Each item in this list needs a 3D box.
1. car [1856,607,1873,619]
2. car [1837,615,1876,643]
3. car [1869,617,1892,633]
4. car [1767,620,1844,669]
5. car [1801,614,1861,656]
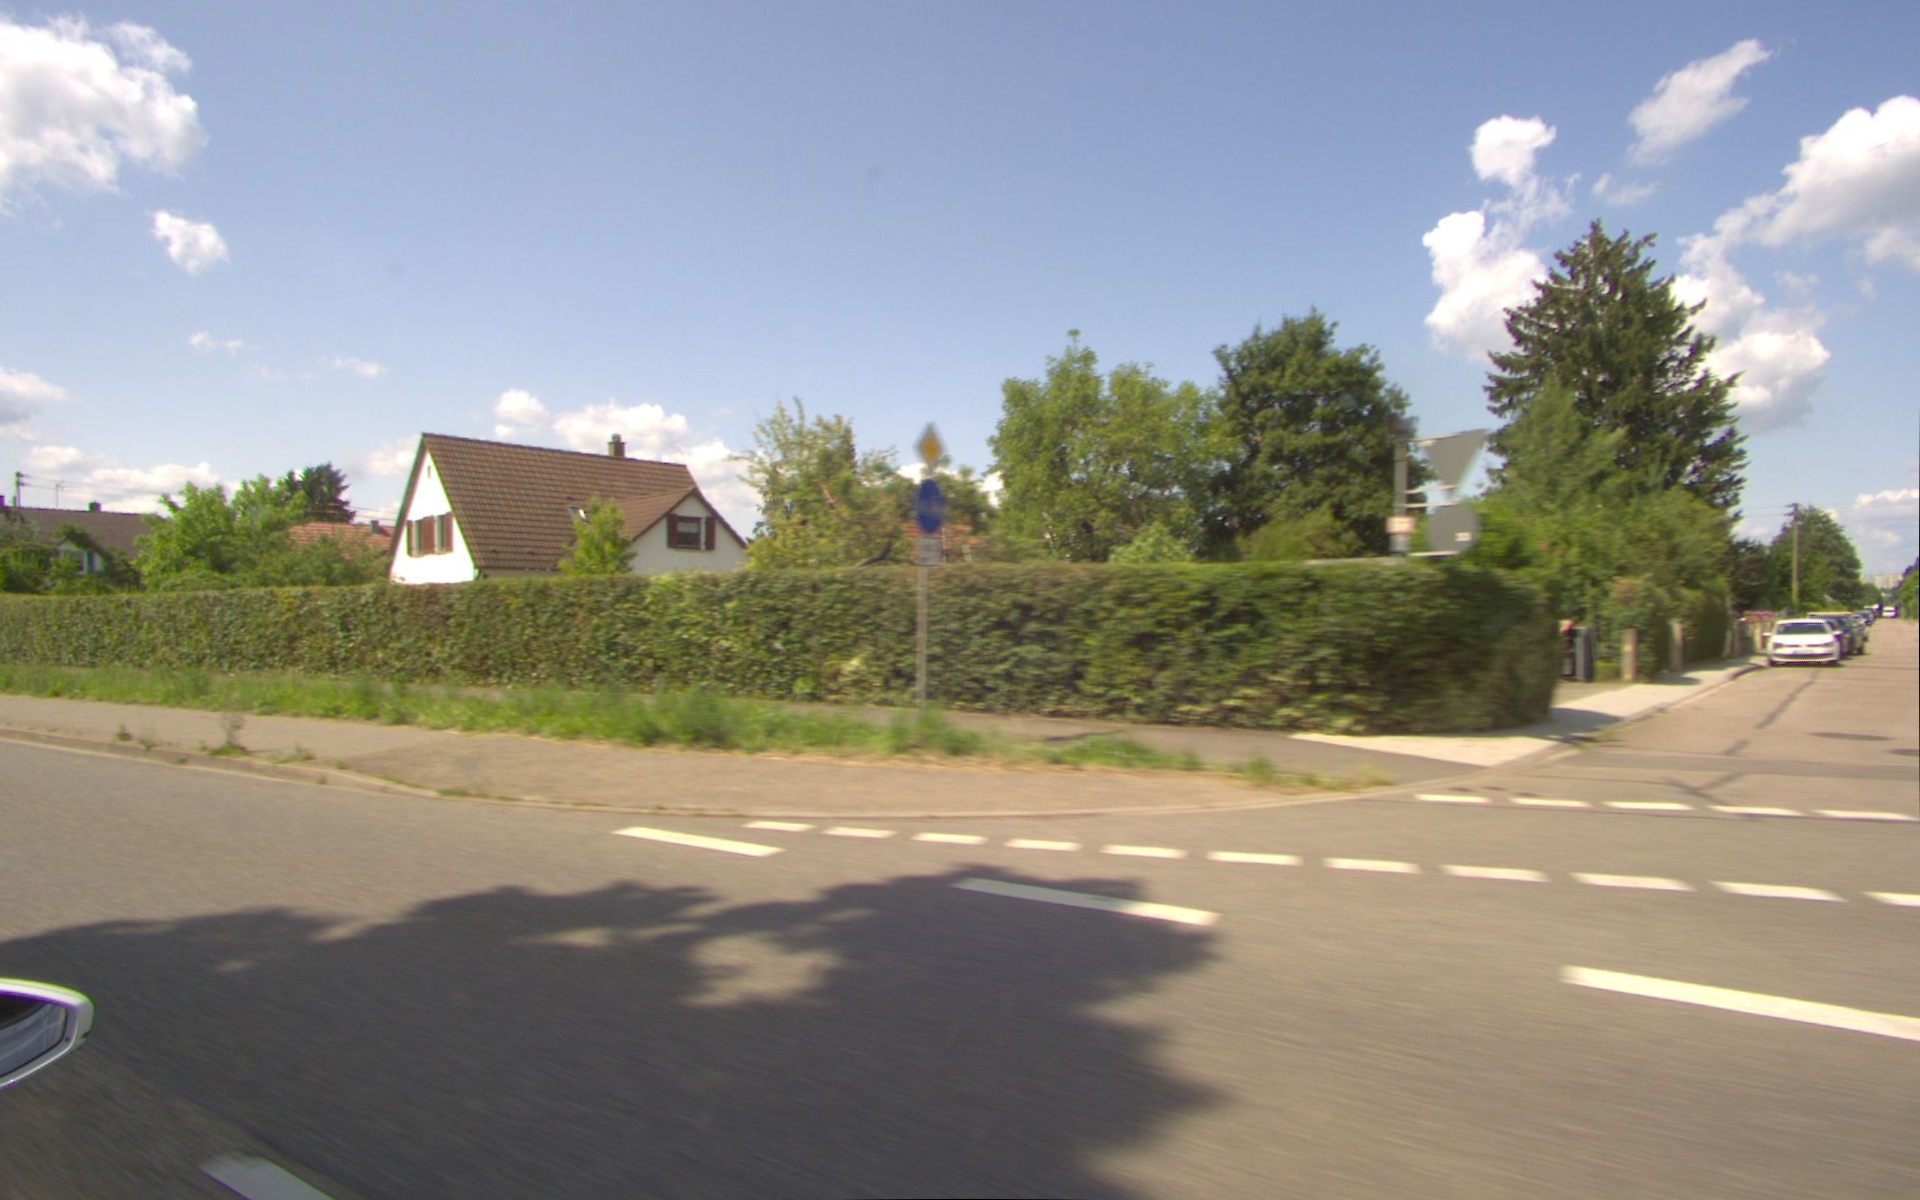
[{"bbox_3d":[118.660,1.665,131.354,1.663,1.573,3.633,0,-1,43],"label":"car"},{"bbox_3d":[52.594,1.660,58.714,1.663,1.573,3.633,0,-1,43],"label":"car"},{"bbox_3d":[93.901,2.515,102.126,1.663,1.573,3.633,0,-1,43],"label":"car"},{"bbox_3d":[26.268,1.334,31.080,1.663,1.438,3.633,0,-1,43],"label":"car"},{"bbox_3d":[34.295,1.335,39.383,1.663,1.573,3.633,0,-1,43],"label":"car"}]
